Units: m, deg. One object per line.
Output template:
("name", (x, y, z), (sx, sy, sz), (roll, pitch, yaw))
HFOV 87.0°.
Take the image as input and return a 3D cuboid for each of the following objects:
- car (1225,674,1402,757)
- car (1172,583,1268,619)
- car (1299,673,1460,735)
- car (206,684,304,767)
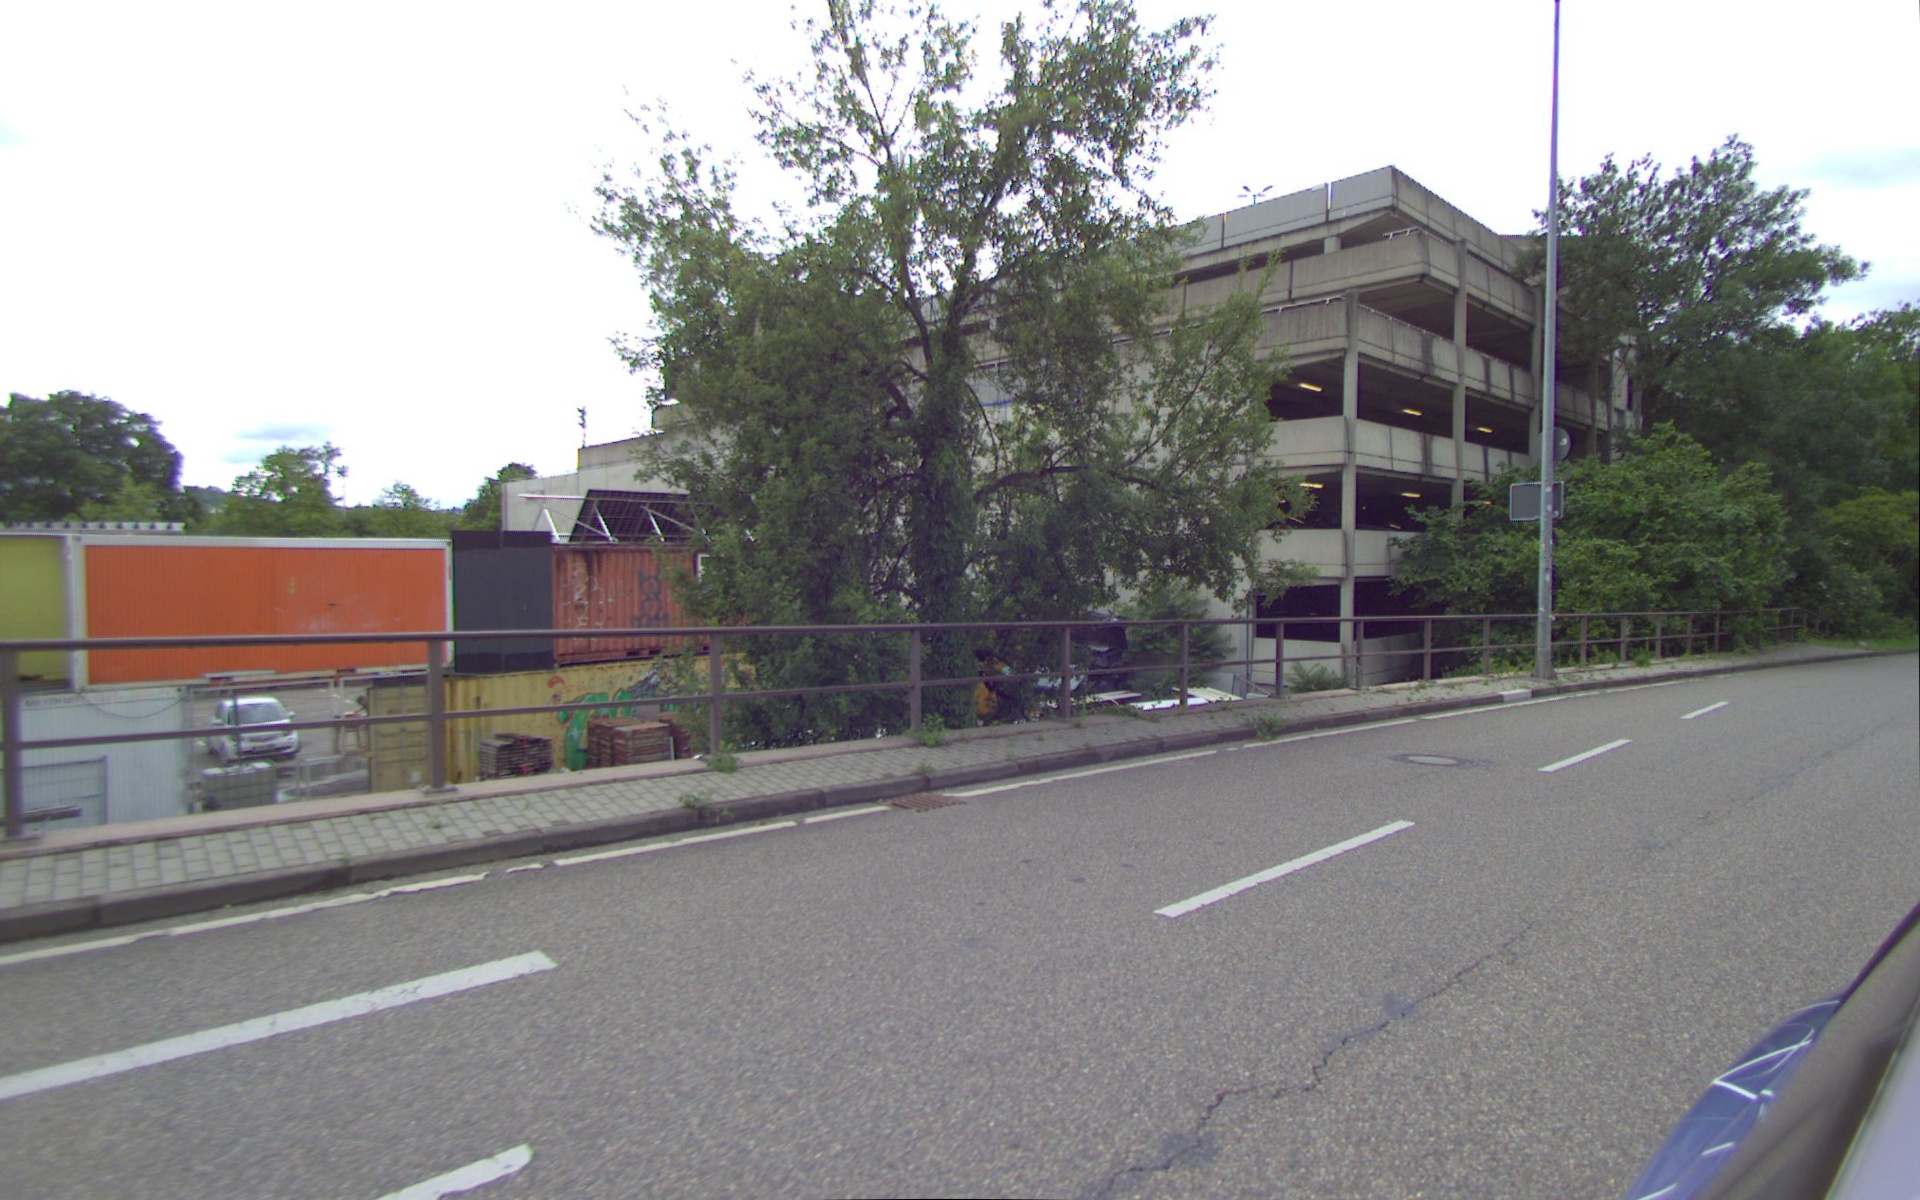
("car", (10.677, 3.409, 30.790), (1.968, 1.806, 4.747), (-3, 3, -44))
("car", (12.022, 0.009, 46.977), (1.846, 1.497, 3.990), (-4, 4, -44))
("car", (14.150, 3.448, 34.324), (1.968, 1.447, 4.654), (-4, 4, -44))
("car", (-19.368, 3.357, 27.720), (1.964, 1.551, 3.998), (0, 3, -38))
